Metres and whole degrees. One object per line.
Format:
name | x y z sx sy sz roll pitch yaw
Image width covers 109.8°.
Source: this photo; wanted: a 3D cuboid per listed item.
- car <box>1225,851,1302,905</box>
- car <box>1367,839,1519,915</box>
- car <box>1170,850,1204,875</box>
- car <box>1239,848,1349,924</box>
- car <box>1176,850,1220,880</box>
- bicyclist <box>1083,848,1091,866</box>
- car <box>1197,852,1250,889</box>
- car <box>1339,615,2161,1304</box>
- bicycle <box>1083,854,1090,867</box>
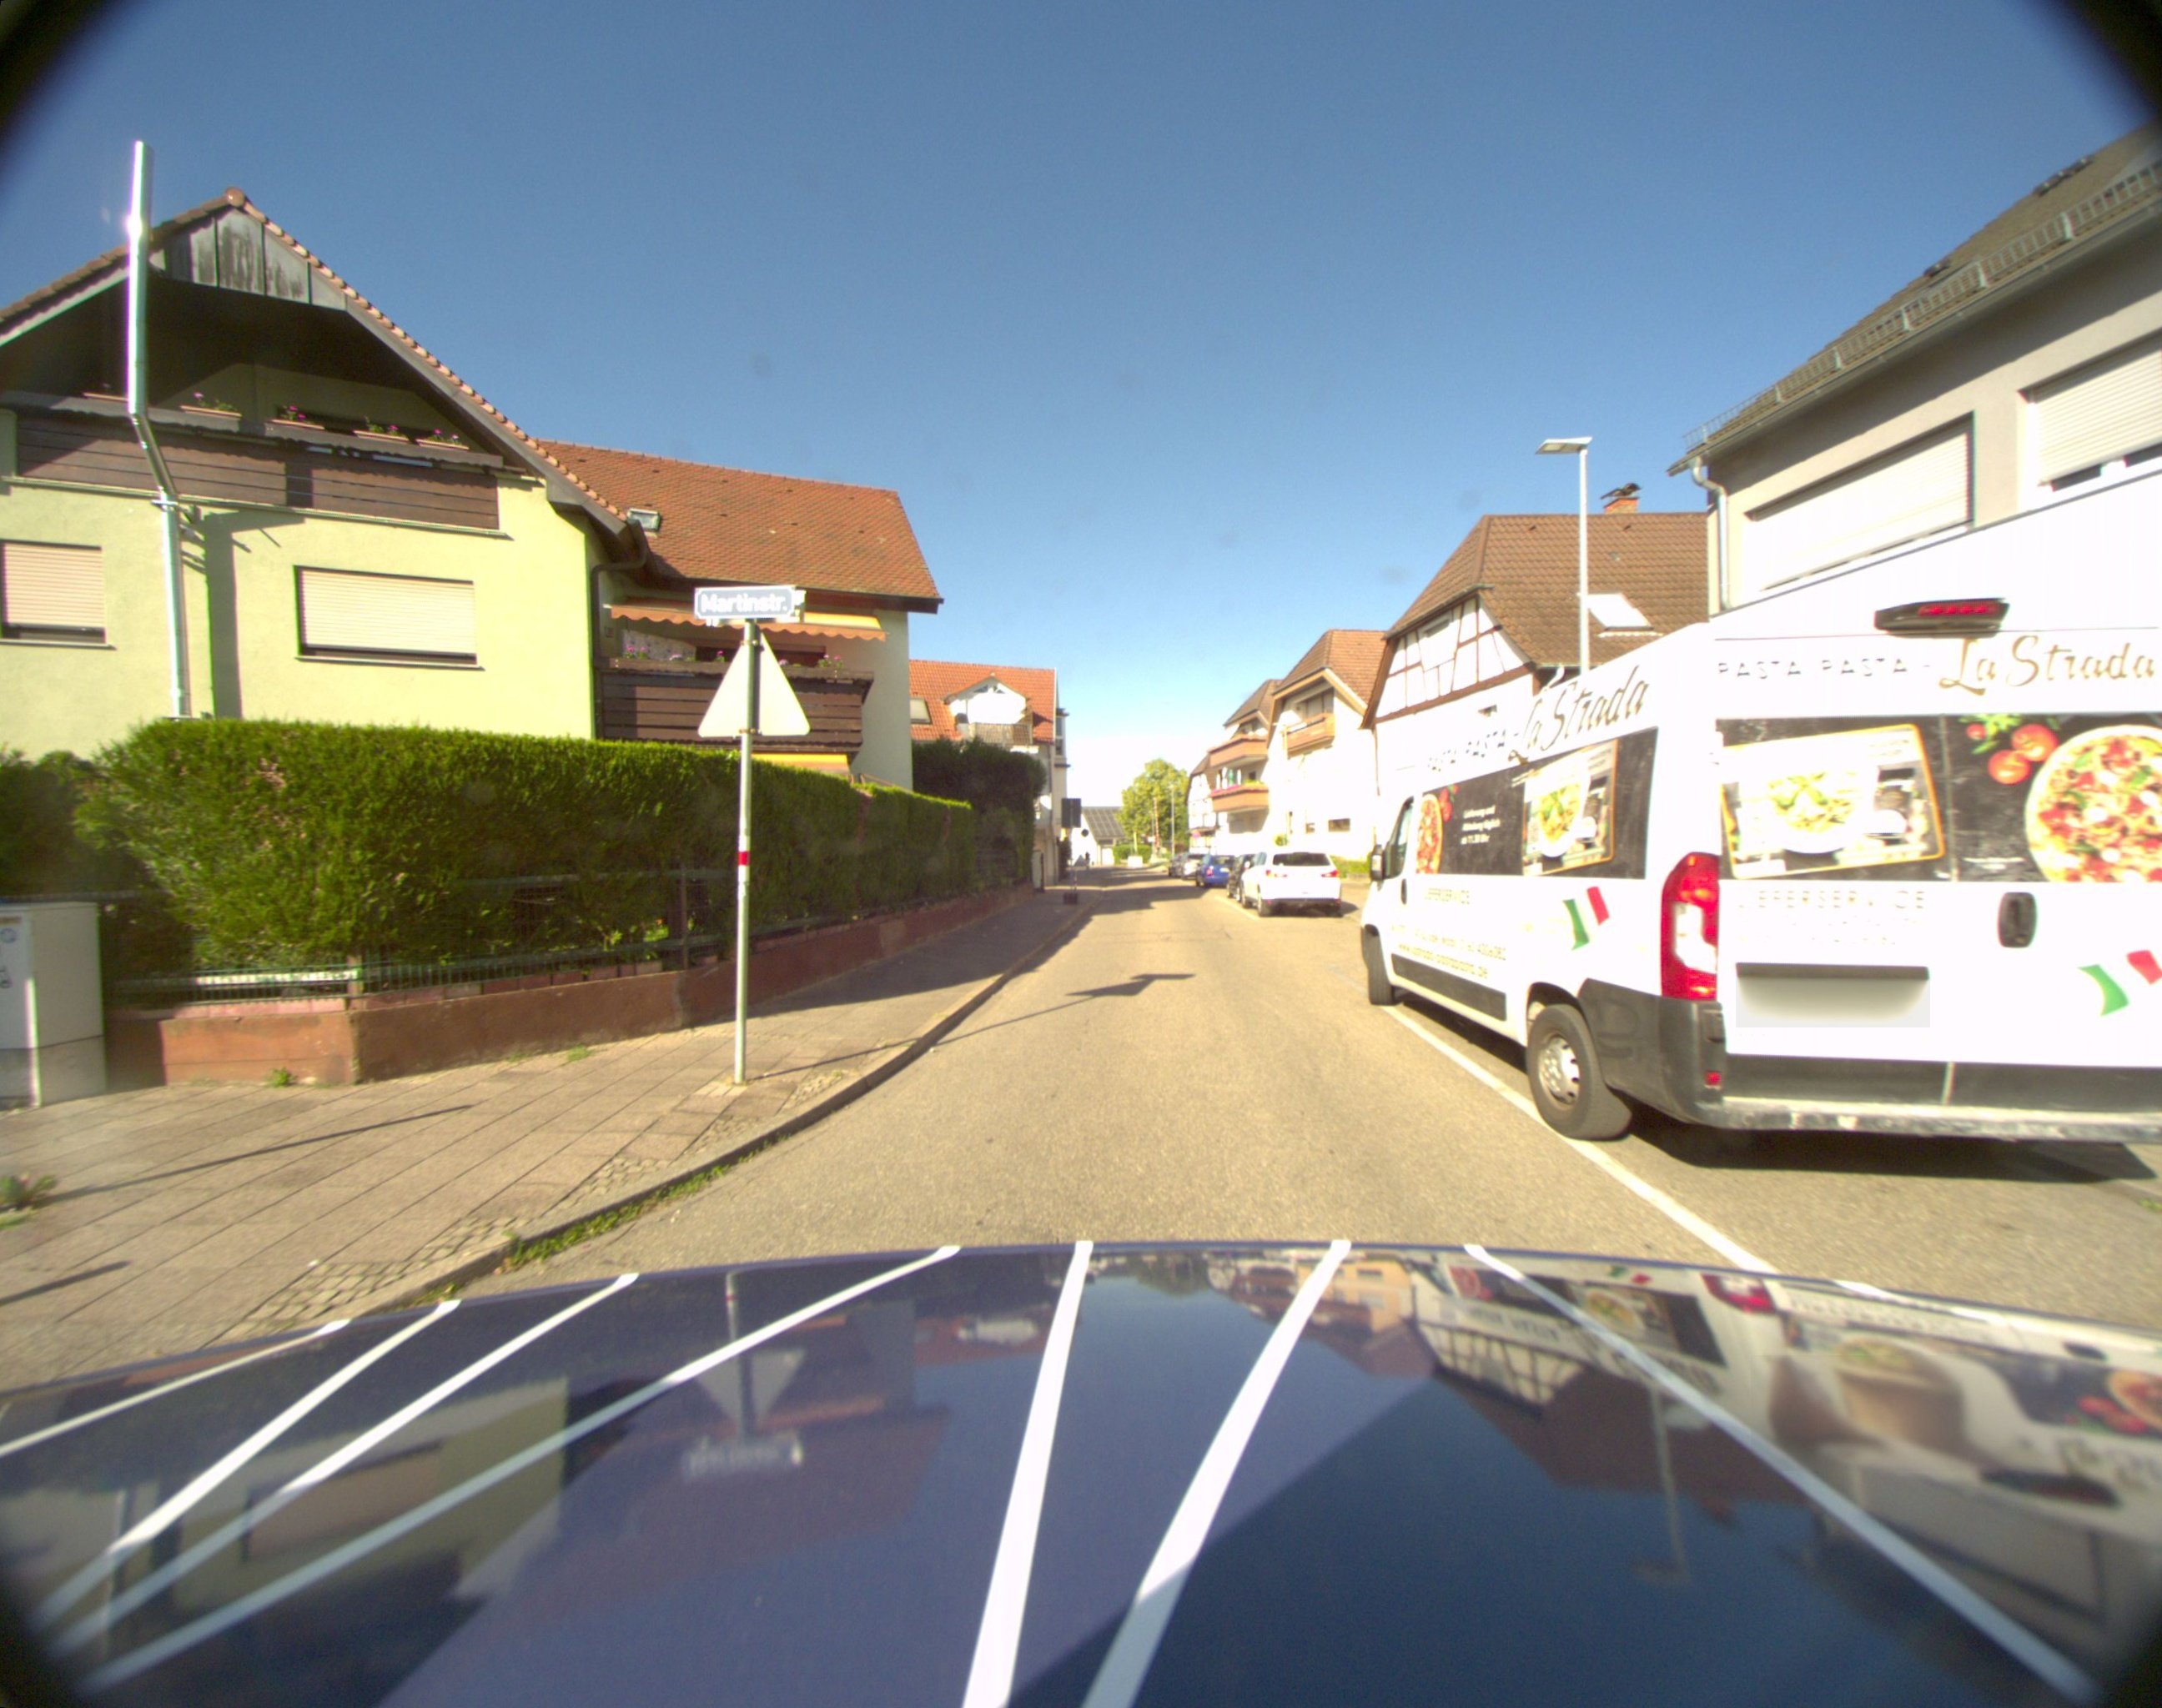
car | 5.525 0.676 23.400 1.659 1.498 3.684 -1 0 3
car | 8.516 0.480 18.304 1.646 1.577 4.111 -2 0 -1
car | 6.466 0.494 46.640 1.627 1.468 3.615 -1 0 0
car | 5.003 0.677 18.389 1.726 1.609 4.113 -1 0 3
car | 6.283 0.554 41.120 1.763 1.547 4.000 -1 0 0
bicyclist | 0.553 0.298 71.718 0.643 1.655 0.605 3 1 1
car | 5.983 0.664 32.313 1.622 1.431 3.956 -1 0 2
car | 3.669 0.370 5.494 2.257 2.456 5.518 -1 0 6
bicycle | 0.520 0.633 71.752 0.639 1.175 2.021 -1 1 1
